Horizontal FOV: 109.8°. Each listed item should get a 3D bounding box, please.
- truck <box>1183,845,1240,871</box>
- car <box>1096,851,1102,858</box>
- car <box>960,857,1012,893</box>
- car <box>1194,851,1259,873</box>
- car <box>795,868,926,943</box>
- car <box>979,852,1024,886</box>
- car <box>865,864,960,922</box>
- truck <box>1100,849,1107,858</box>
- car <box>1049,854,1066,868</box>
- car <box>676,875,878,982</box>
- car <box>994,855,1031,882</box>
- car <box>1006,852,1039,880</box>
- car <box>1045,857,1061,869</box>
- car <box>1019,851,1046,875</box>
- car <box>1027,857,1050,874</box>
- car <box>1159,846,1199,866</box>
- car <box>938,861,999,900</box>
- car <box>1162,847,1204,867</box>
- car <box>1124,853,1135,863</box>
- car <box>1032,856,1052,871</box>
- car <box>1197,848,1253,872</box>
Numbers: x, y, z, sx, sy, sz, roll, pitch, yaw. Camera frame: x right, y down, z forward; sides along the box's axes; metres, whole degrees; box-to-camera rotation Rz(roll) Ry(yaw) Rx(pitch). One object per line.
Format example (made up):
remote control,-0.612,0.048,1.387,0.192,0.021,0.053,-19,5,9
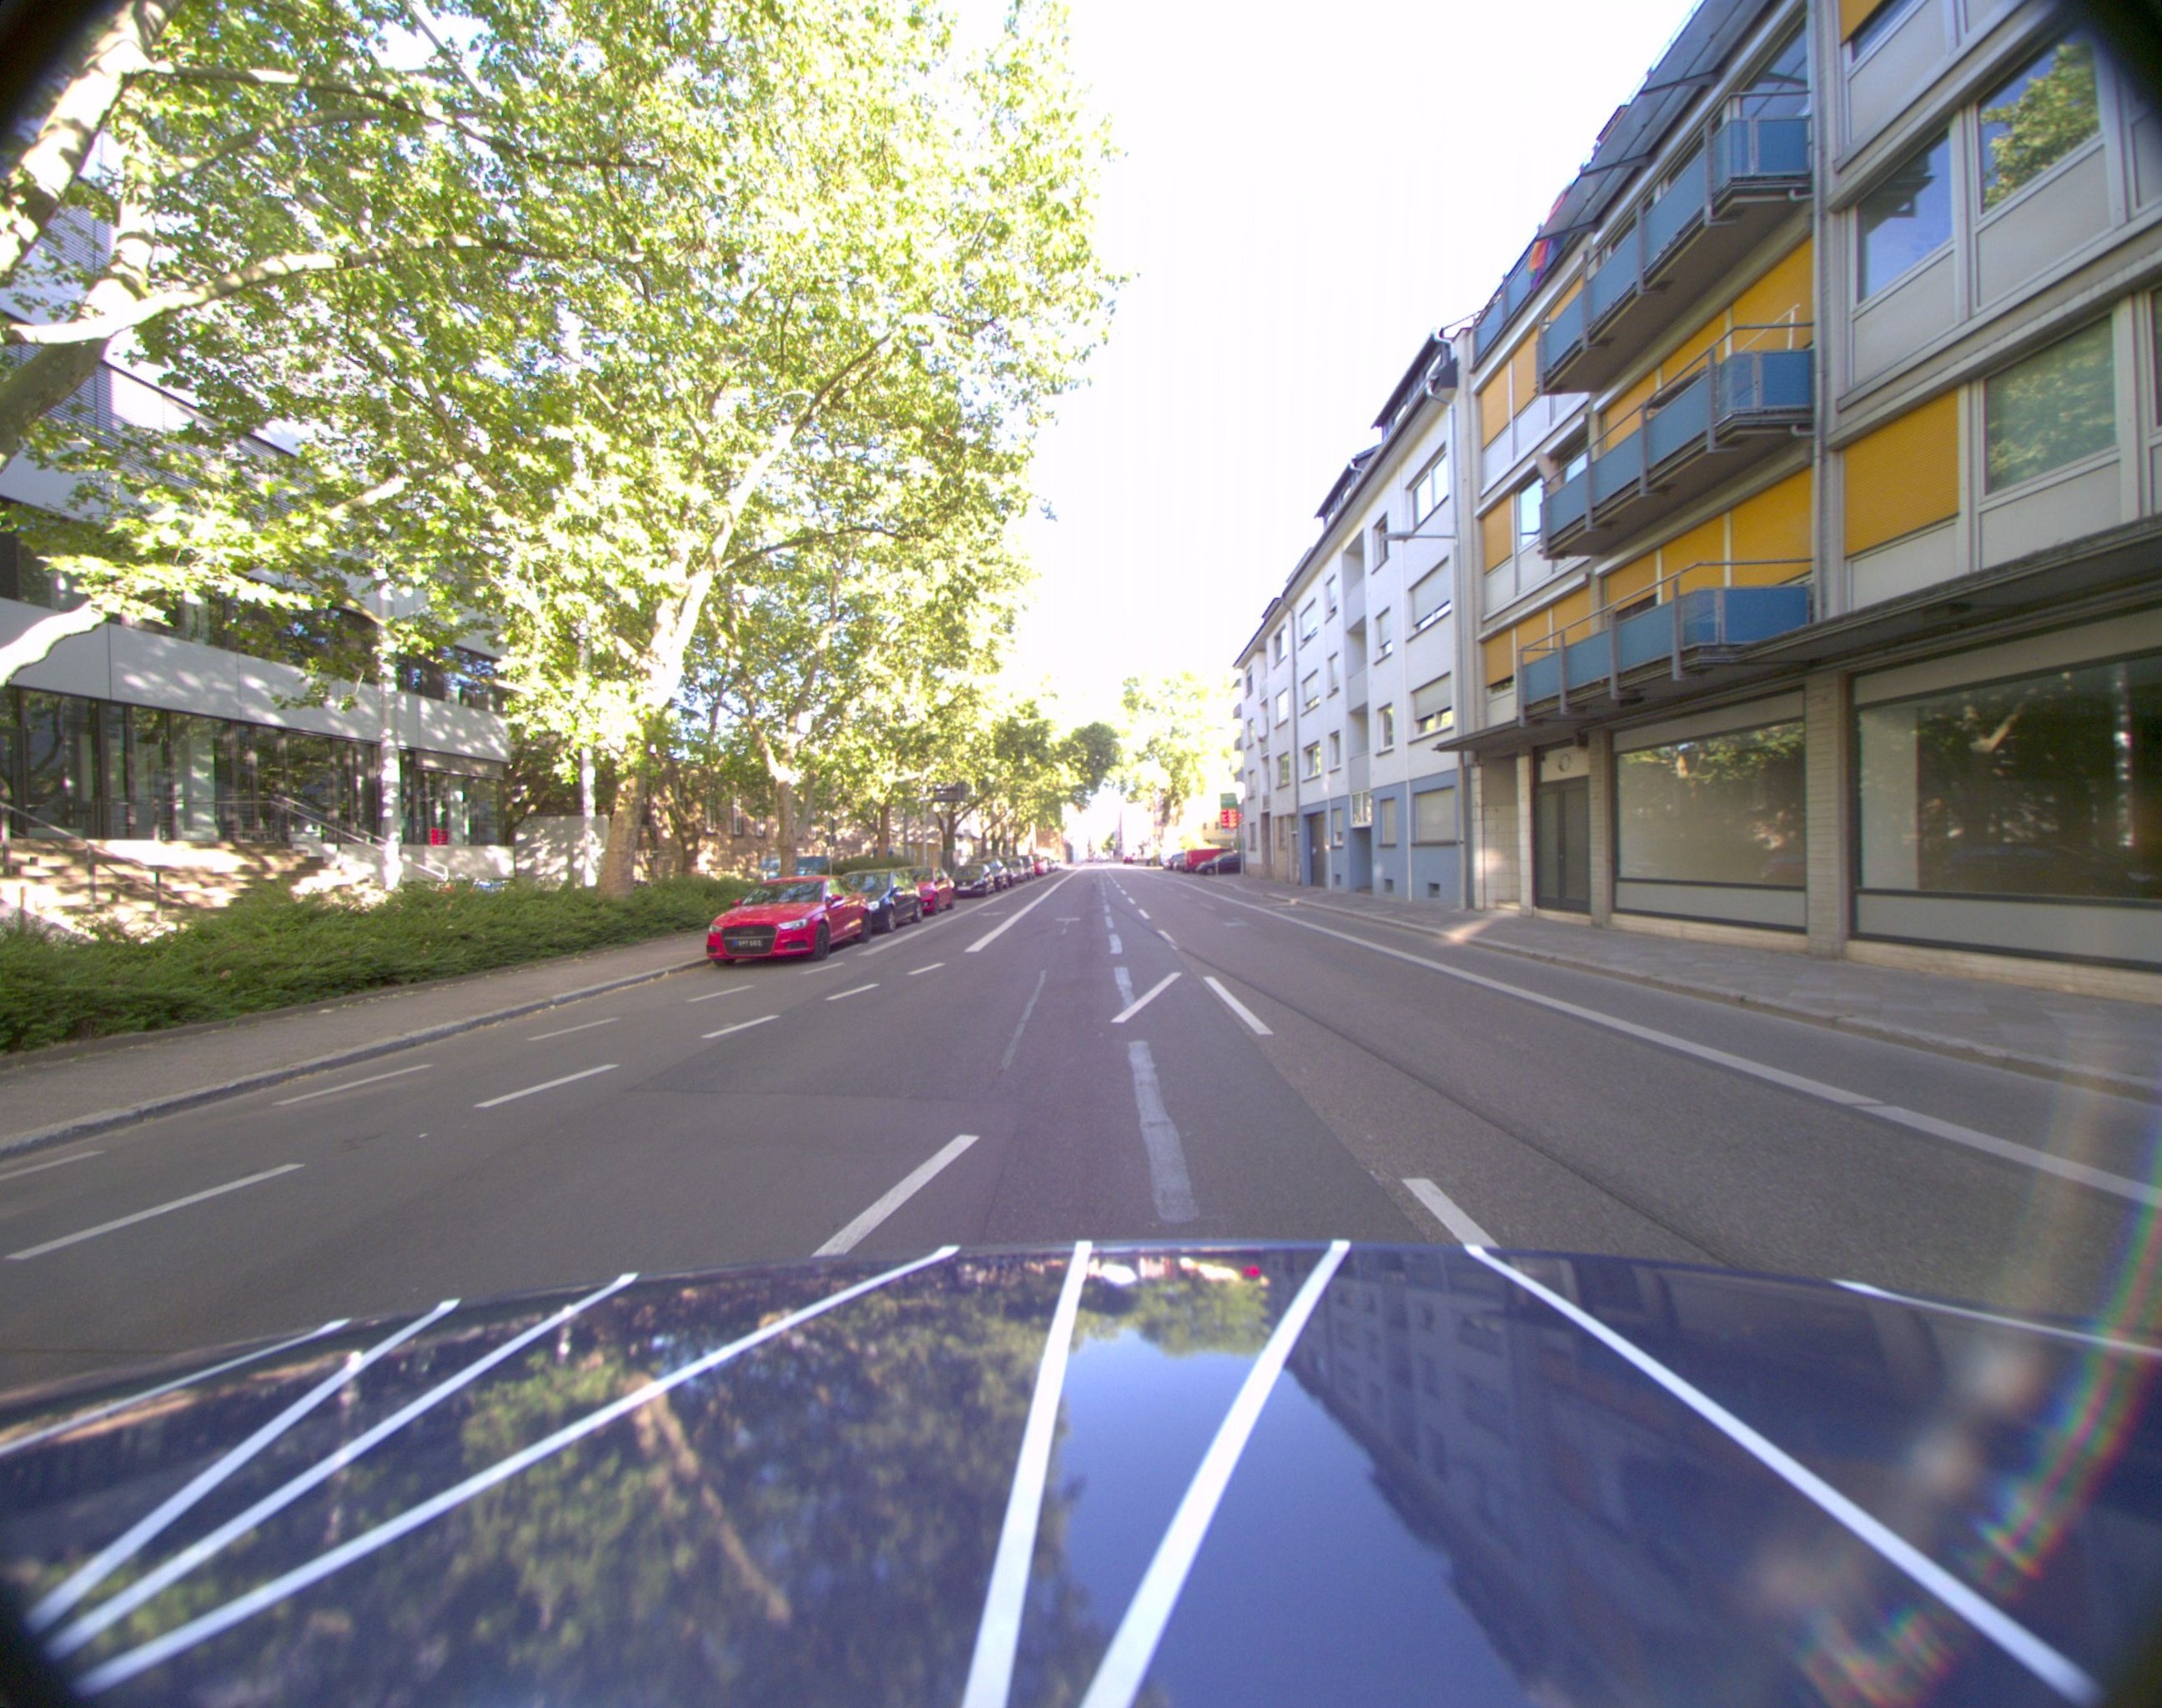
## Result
truck,10.290,0.311,60.209,4.092,1.913,2.000,-2,1,0
car,6.172,0.176,259.450,1.998,2.002,3.999,-2,1,1
car,-4.681,1.000,38.119,1.998,1.592,4.142,-2,1,1
car,10.459,0.563,54.779,4.324,1.398,1.658,-2,1,0
car,-5.169,1.164,18.370,1.998,1.452,3.644,-2,1,1
car,-4.604,0.833,44.513,1.998,1.777,4.572,-2,1,1
car,-5.126,1.144,23.668,1.998,1.490,3.828,-2,1,1
truck,6.884,-0.310,233.819,1.998,2.653,5.314,-2,1,0
car,-3.181,0.899,103.004,1.998,1.682,3.999,-2,1,1
car,-5.185,1.192,13.634,1.907,1.417,3.999,-2,1,1
car,-4.542,0.933,50.900,1.998,1.557,4.142,-2,1,1
car,-4.242,0.839,55.601,1.998,1.838,3.999,-2,1,1
car,-3.343,1.063,92.733,1.693,1.364,3.999,-2,1,1
car,-4.219,0.753,66.368,1.998,1.960,3.999,-2,1,1
car,-4.033,1.076,71.993,1.824,1.466,3.999,-2,1,1
car,10.953,0.208,85.309,4.236,2.025,2.000,-2,1,3
car,-4.835,1.125,33.175,1.998,1.447,3.589,-2,1,1
car,10.867,0.274,80.909,4.236,1.945,2.000,-2,1,3
car,8.567,0.719,135.524,1.847,1.668,4.000,-2,1,3
car,-4.134,0.981,80.745,1.824,1.466,3.999,-2,1,1
car,10.804,0.442,57.110,3.810,1.563,1.658,-2,1,0
